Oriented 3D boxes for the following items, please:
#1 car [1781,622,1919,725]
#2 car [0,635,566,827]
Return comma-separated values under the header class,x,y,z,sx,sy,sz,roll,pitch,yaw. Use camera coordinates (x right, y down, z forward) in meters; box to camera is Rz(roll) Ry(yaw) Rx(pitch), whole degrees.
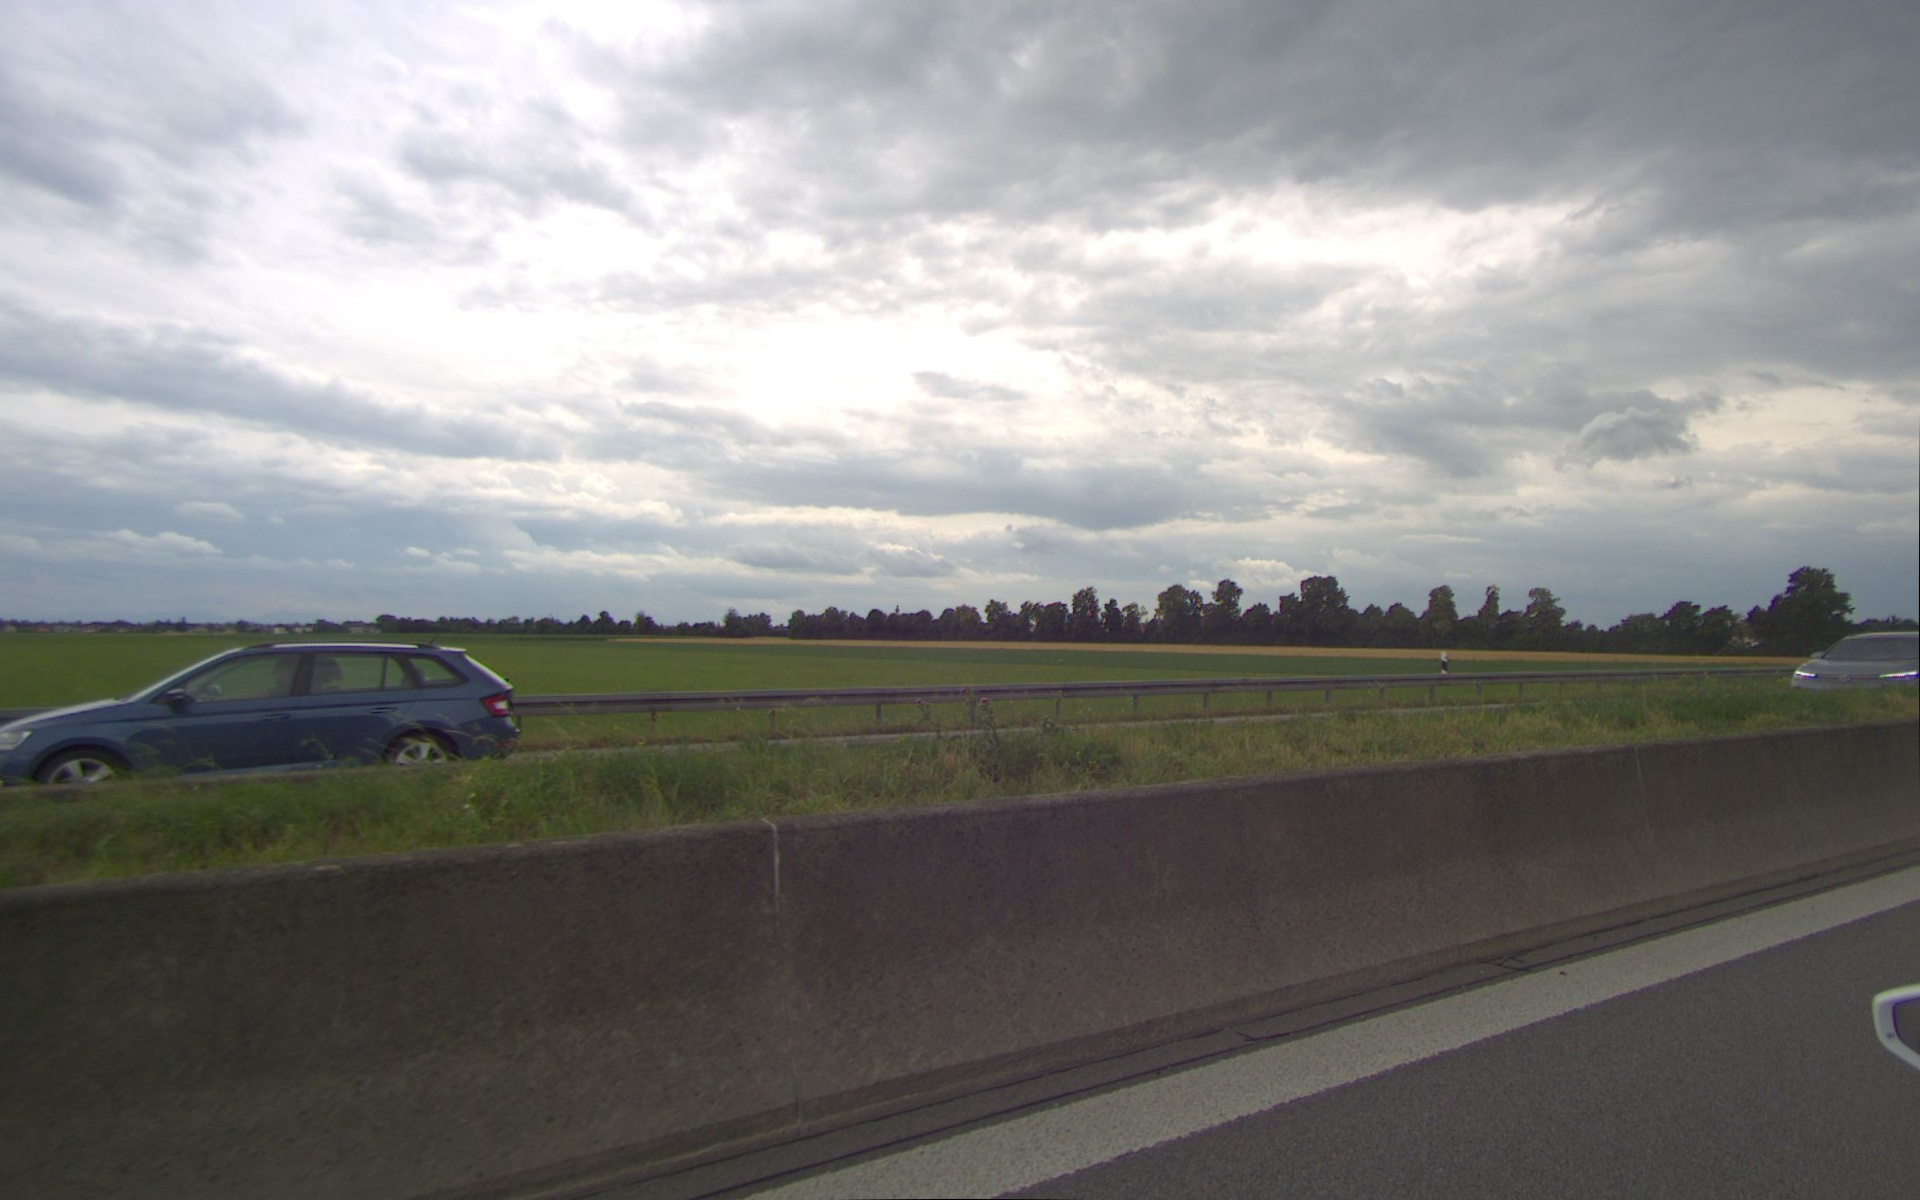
class,x,y,z,sx,sy,sz,roll,pitch,yaw
car,17.297,1.317,18.634,4.308,1.716,1.832,2,-3,-31
car,-6.307,1.114,9.681,4.477,1.507,1.738,1,-3,-30
